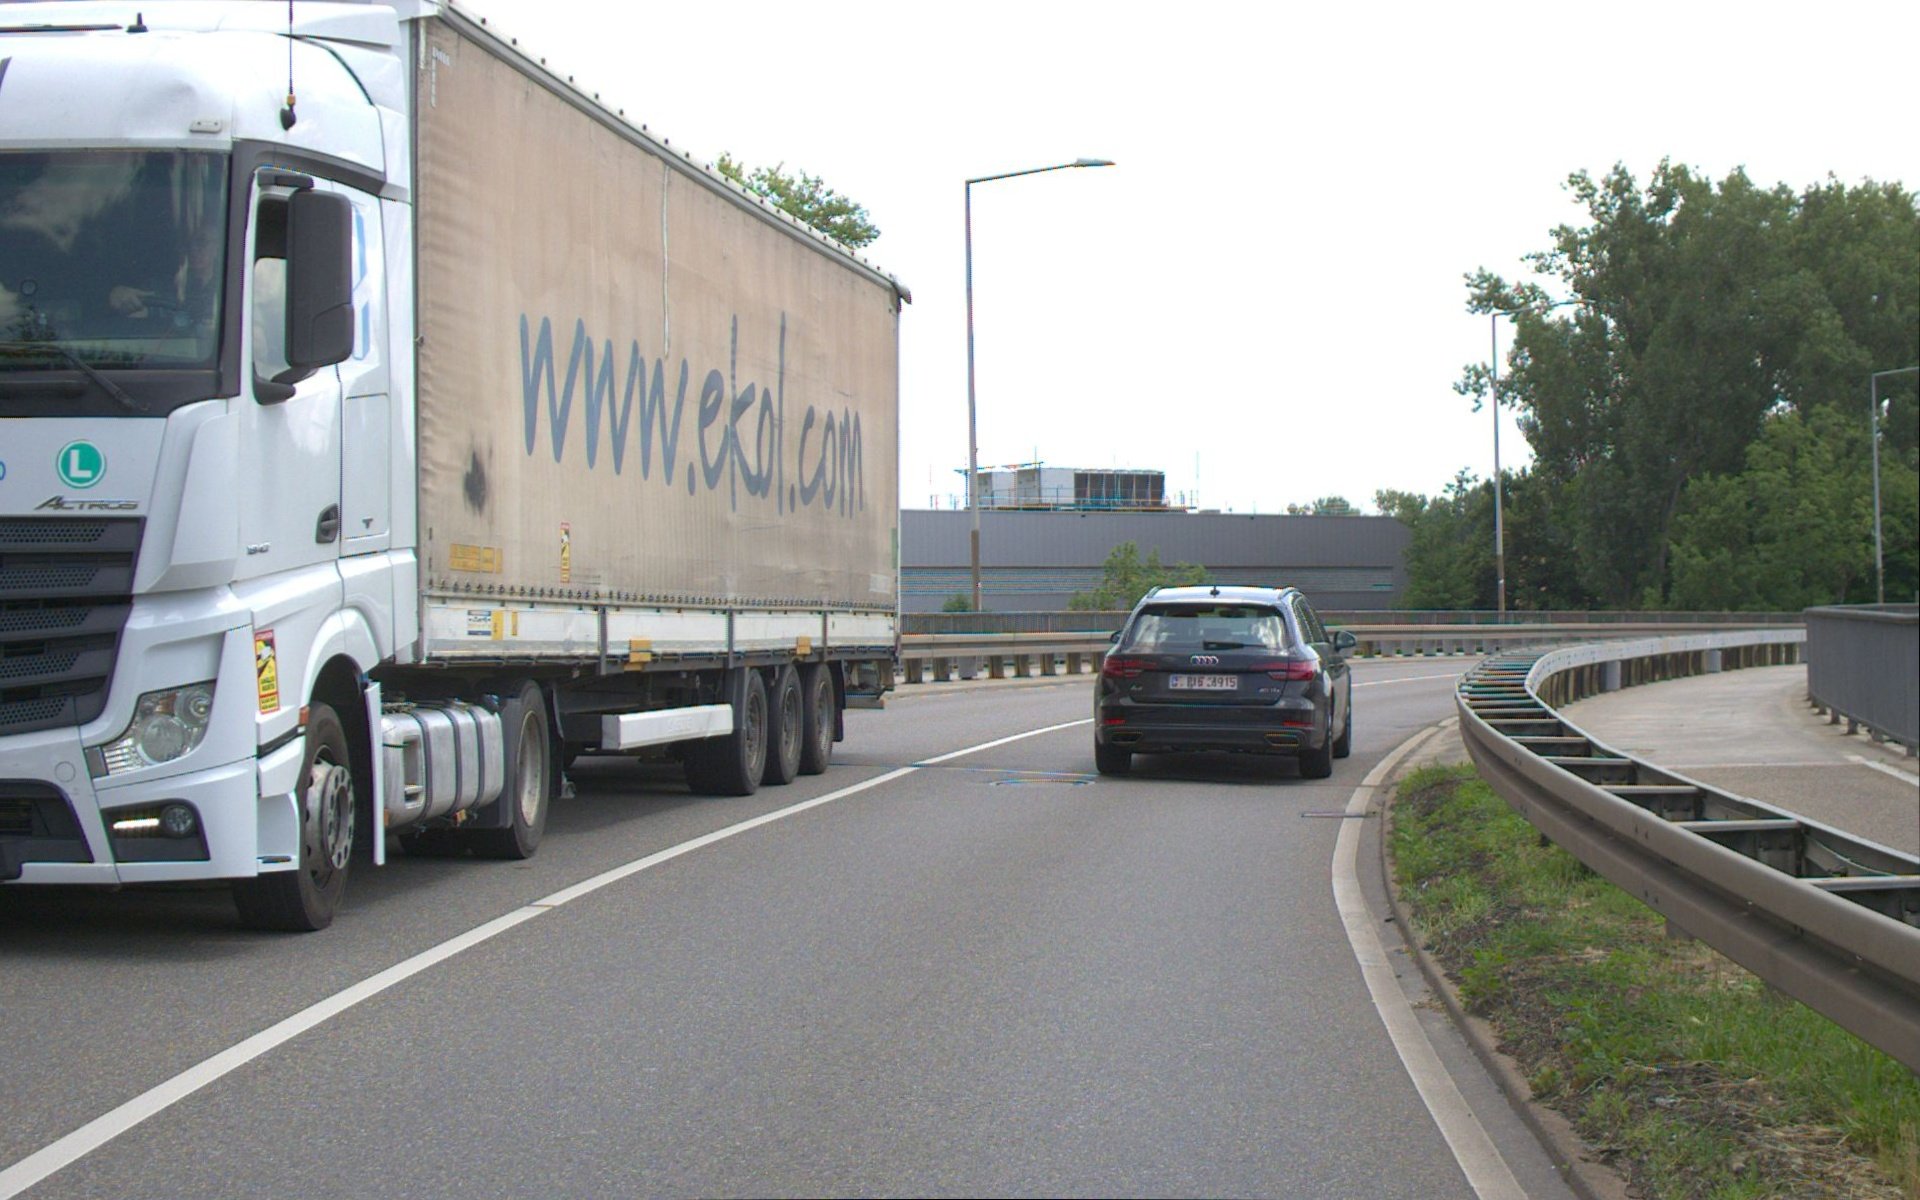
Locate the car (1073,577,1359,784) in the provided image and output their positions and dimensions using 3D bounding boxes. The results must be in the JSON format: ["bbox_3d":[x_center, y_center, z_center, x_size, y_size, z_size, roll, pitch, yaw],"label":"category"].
[{"bbox_3d":[2.098,0.566,27.122,1.828,1.486,4.205,0,0,10],"label":"car"}]

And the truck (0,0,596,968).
[{"bbox_3d":[-3.670,-0.755,15.450,2.762,4.120,5.651,1,0,7],"label":"truck"}]

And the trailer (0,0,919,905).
[{"bbox_3d":[-2.739,-0.841,22.422,2.707,4.265,14.227,1,0,8],"label":"trailer"}]
